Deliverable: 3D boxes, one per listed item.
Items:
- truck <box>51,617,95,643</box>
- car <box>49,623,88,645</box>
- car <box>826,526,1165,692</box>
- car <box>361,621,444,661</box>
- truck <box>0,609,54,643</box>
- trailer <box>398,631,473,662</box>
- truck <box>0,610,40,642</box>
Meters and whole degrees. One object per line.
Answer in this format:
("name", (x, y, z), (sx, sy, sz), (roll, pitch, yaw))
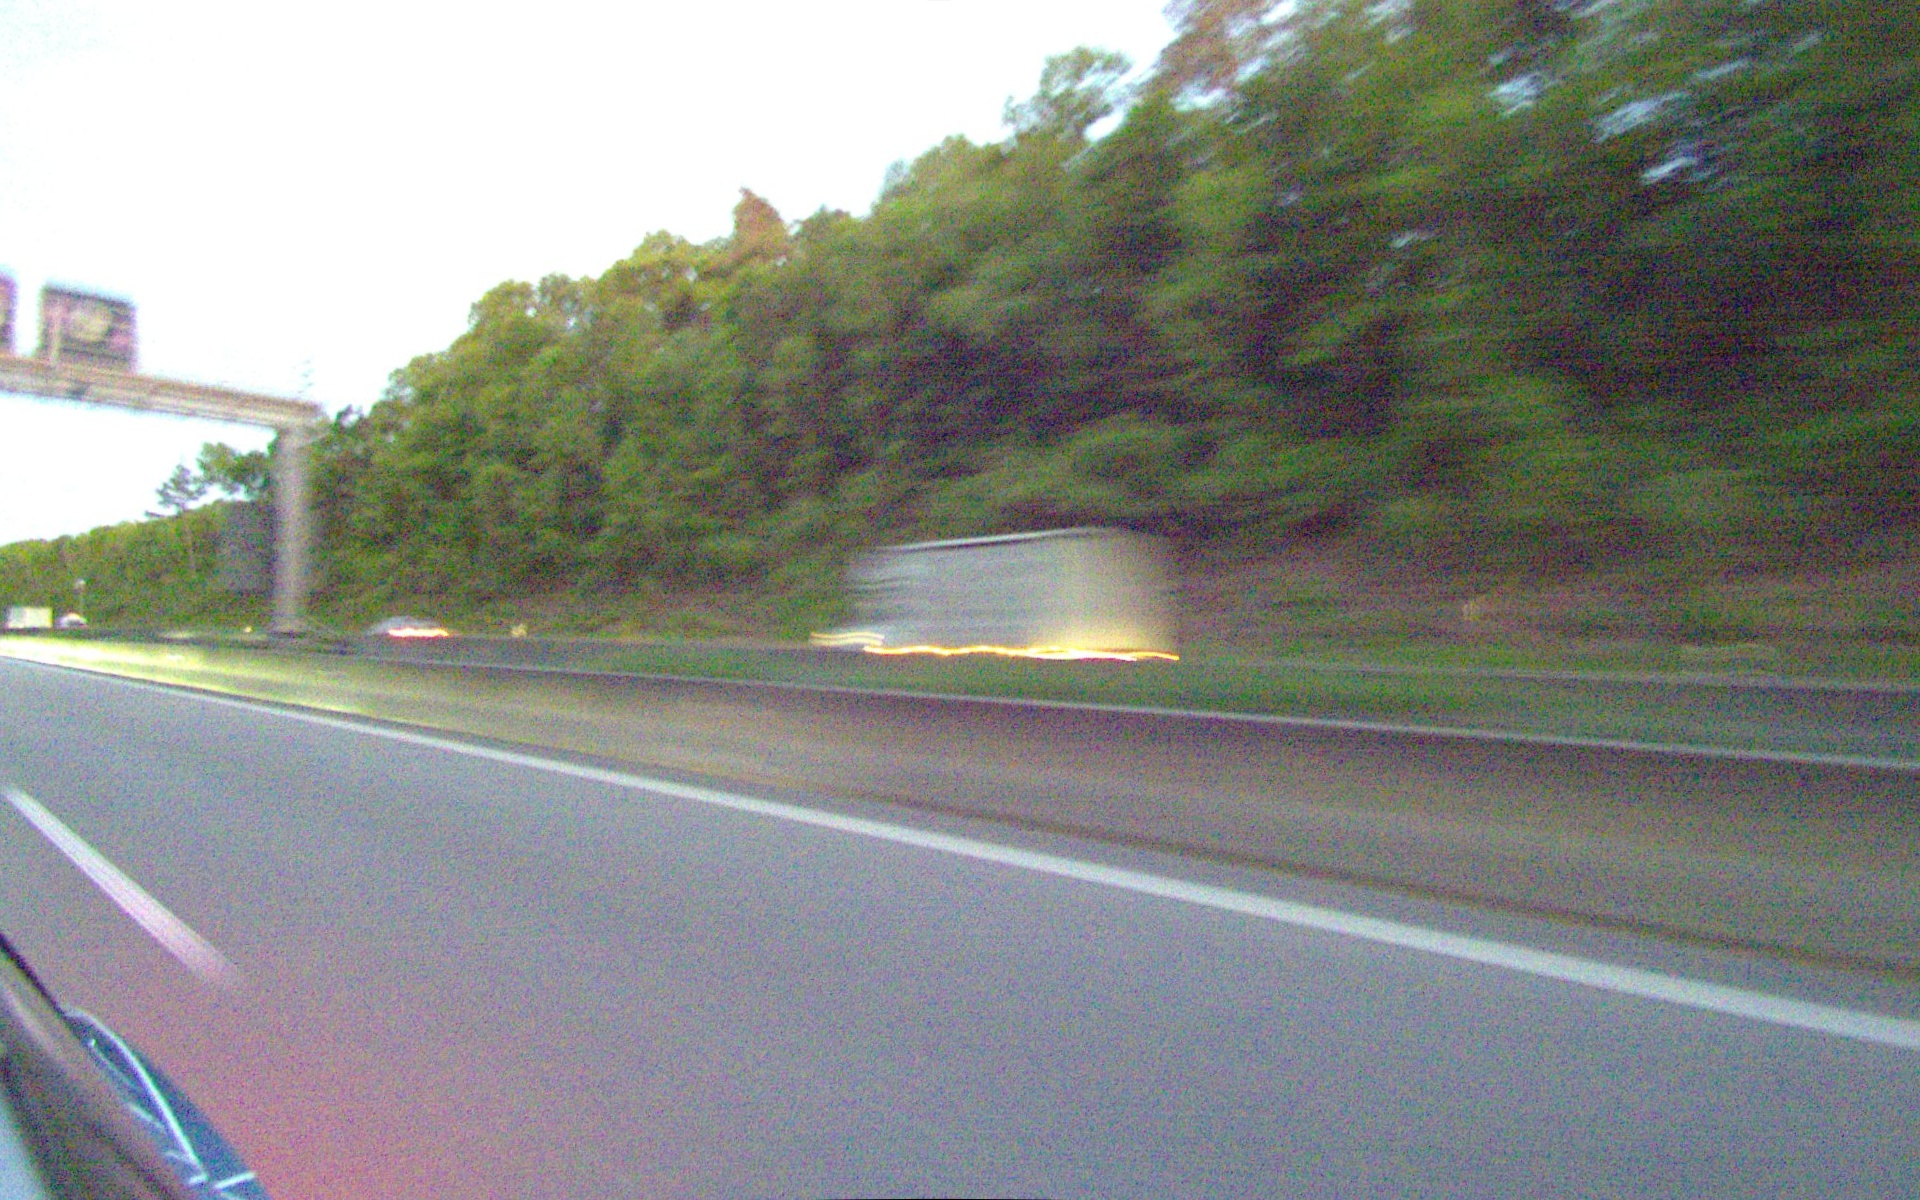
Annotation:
("truck", (-90.624, 3.017, 103.338), (9.754, 2.529, 2.434), (-2, -1, 43))
("car", (-71.411, 2.719, 81.043), (4.712, 1.728, 1.718), (-2, -1, 41))
("car", (0.540, 0.253, 23.786), (8.225, 3.309, 2.586), (-1, -2, 41))
("car", (-25.951, 1.873, 47.039), (4.571, 1.749, 1.973), (-1, -1, 41))
("truck", (-117.728, 3.348, 127.604), (14.487, 4.034, 3.322), (-2, -2, 41))
("trailer", (-23.063, 2.017, 44.475), (3.121, 1.258, 1.973), (-1, -1, 41))
("truck", (-122.860, 3.426, 132.030), (6.874, 4.034, 3.345), (-2, -2, 40))
